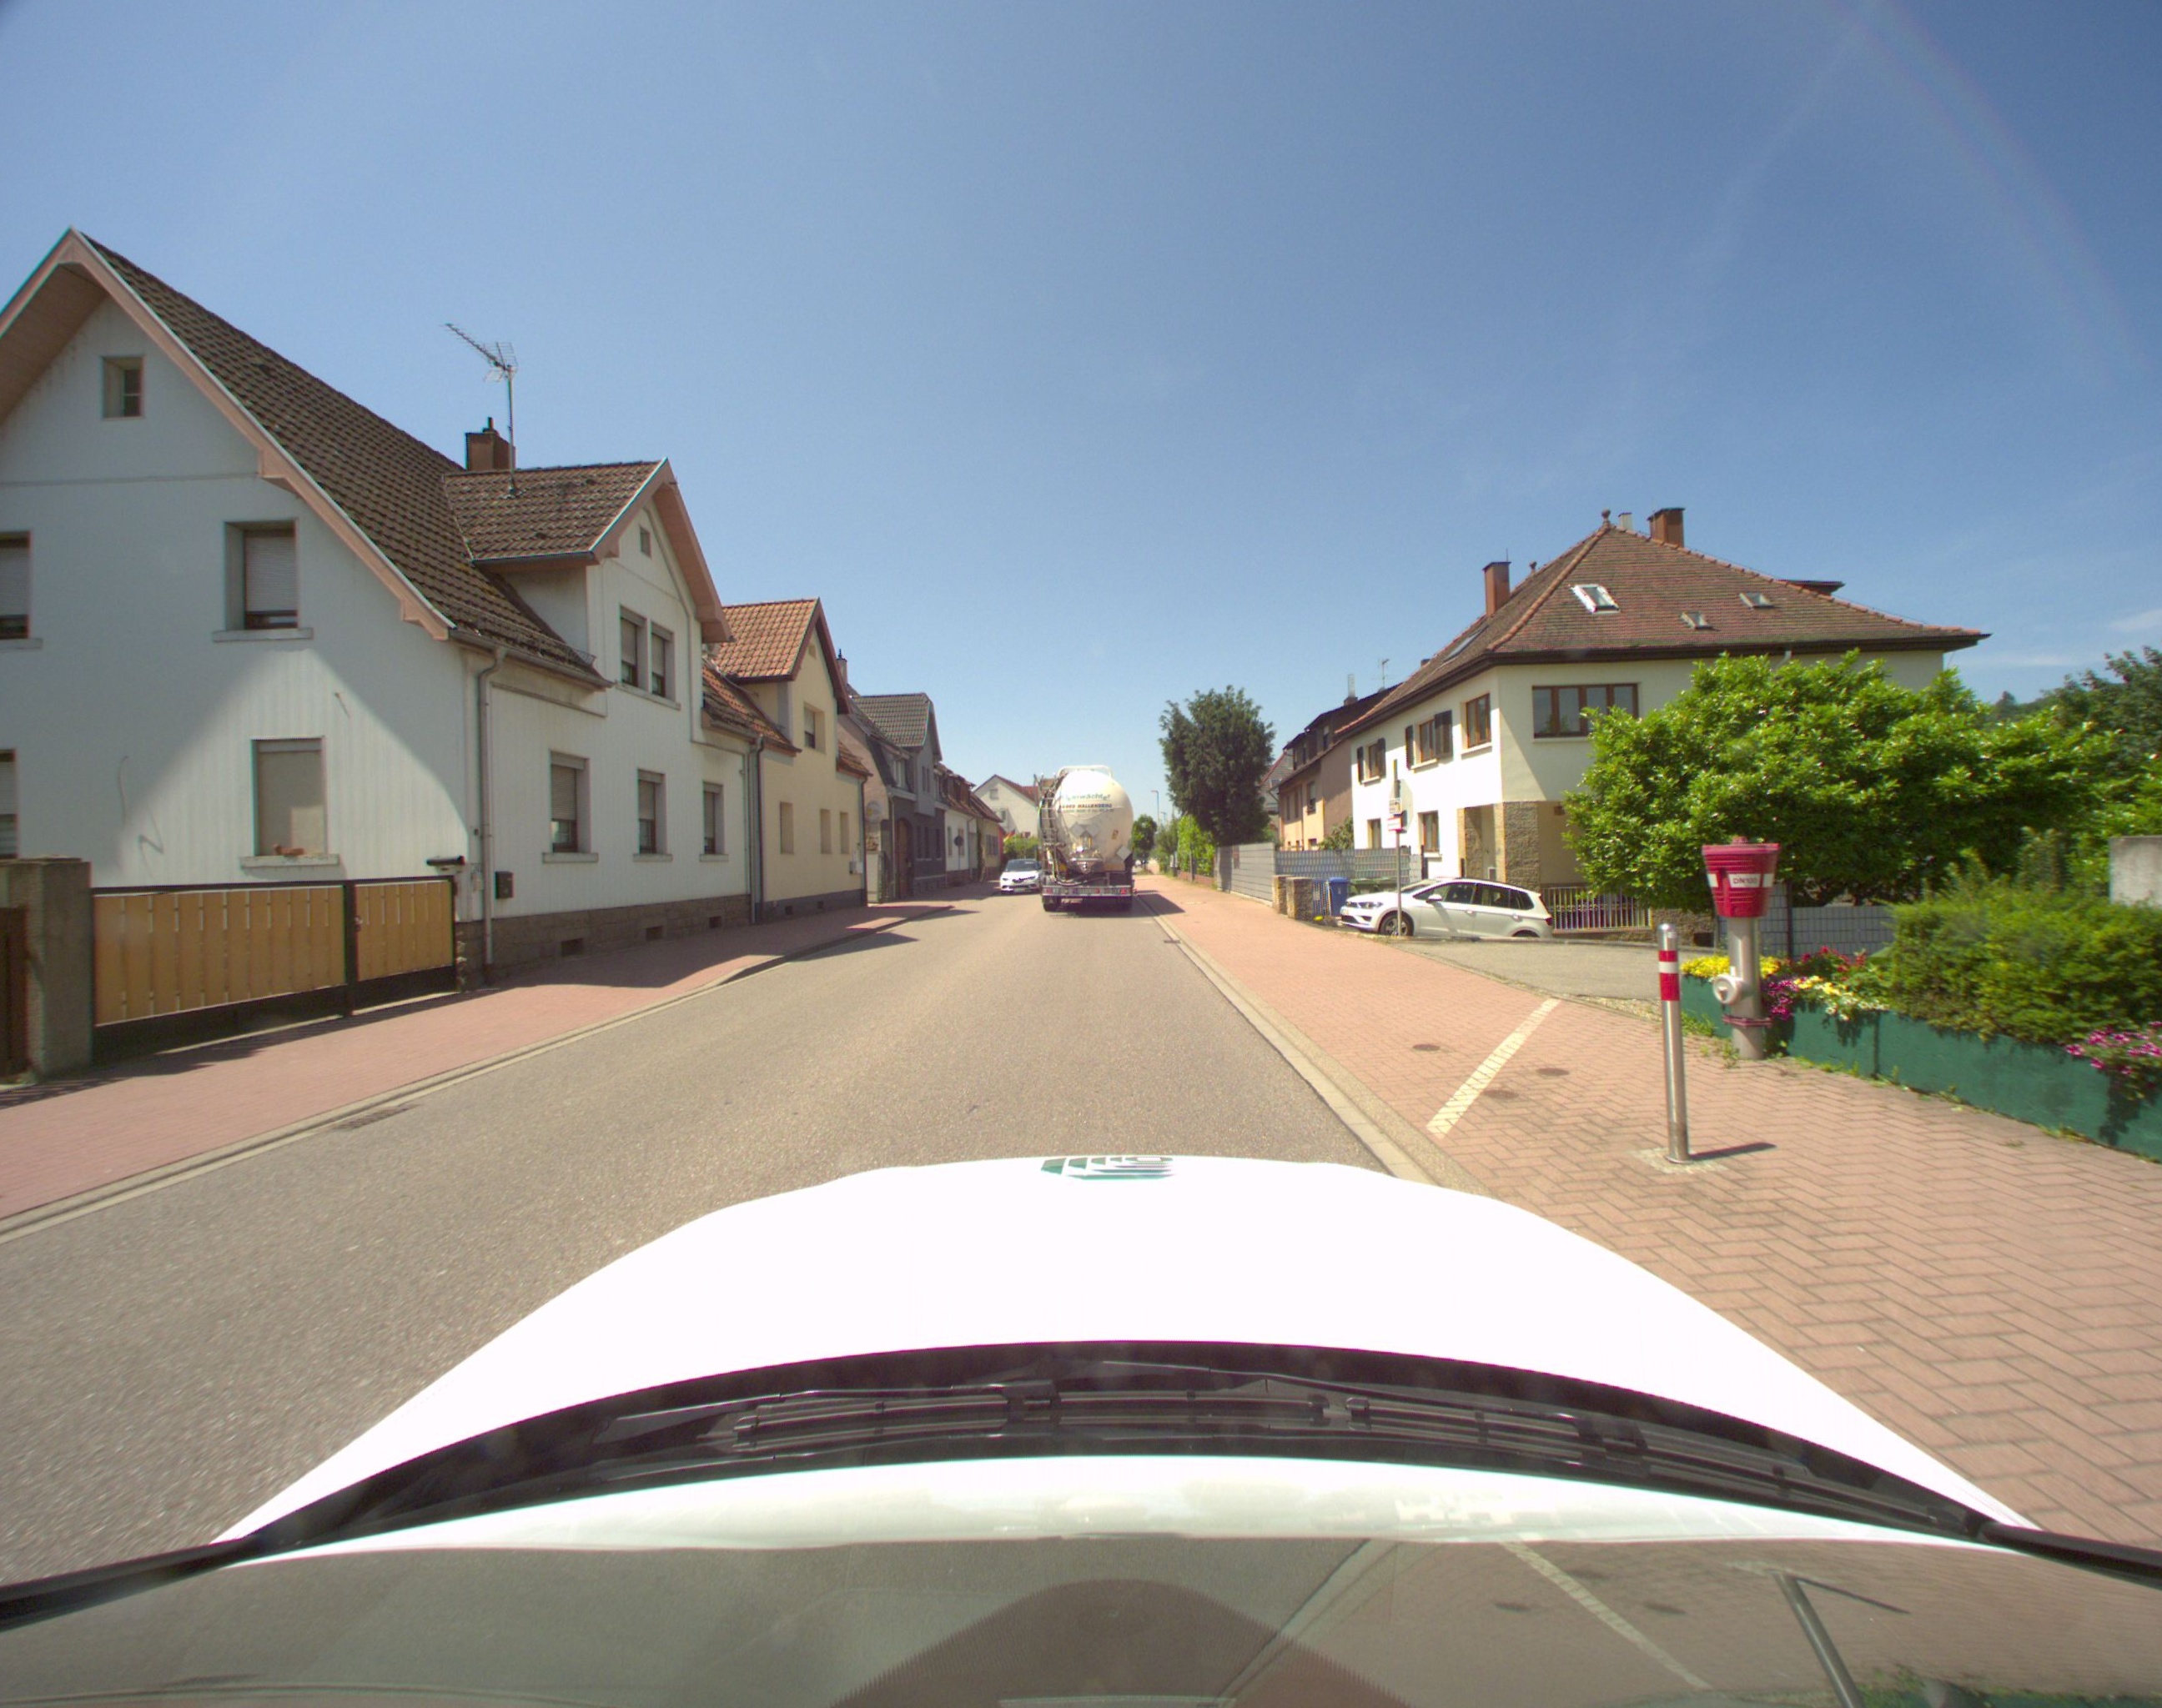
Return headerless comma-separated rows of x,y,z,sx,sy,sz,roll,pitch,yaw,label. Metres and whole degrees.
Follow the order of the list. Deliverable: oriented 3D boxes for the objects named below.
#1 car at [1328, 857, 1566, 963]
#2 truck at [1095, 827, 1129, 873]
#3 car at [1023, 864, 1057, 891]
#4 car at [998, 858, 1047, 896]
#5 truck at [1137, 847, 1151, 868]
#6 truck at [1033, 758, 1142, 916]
7.787,1.153,17.639,4.155,1.587,1.907,8,0,1,car
2.908,-0.267,73.948,2.720,3.960,8.151,0,-1,4,truck
-2.635,1.490,53.005,1.845,1.506,4.104,-4,-1,0,car
-2.740,1.047,38.832,1.844,1.571,4.255,-4,-1,1,car
9.753,0.551,126.474,1.984,3.137,9.458,0,0,4,truck
0.215,-0.375,24.529,2.723,3.960,8.141,0,-1,1,truck
